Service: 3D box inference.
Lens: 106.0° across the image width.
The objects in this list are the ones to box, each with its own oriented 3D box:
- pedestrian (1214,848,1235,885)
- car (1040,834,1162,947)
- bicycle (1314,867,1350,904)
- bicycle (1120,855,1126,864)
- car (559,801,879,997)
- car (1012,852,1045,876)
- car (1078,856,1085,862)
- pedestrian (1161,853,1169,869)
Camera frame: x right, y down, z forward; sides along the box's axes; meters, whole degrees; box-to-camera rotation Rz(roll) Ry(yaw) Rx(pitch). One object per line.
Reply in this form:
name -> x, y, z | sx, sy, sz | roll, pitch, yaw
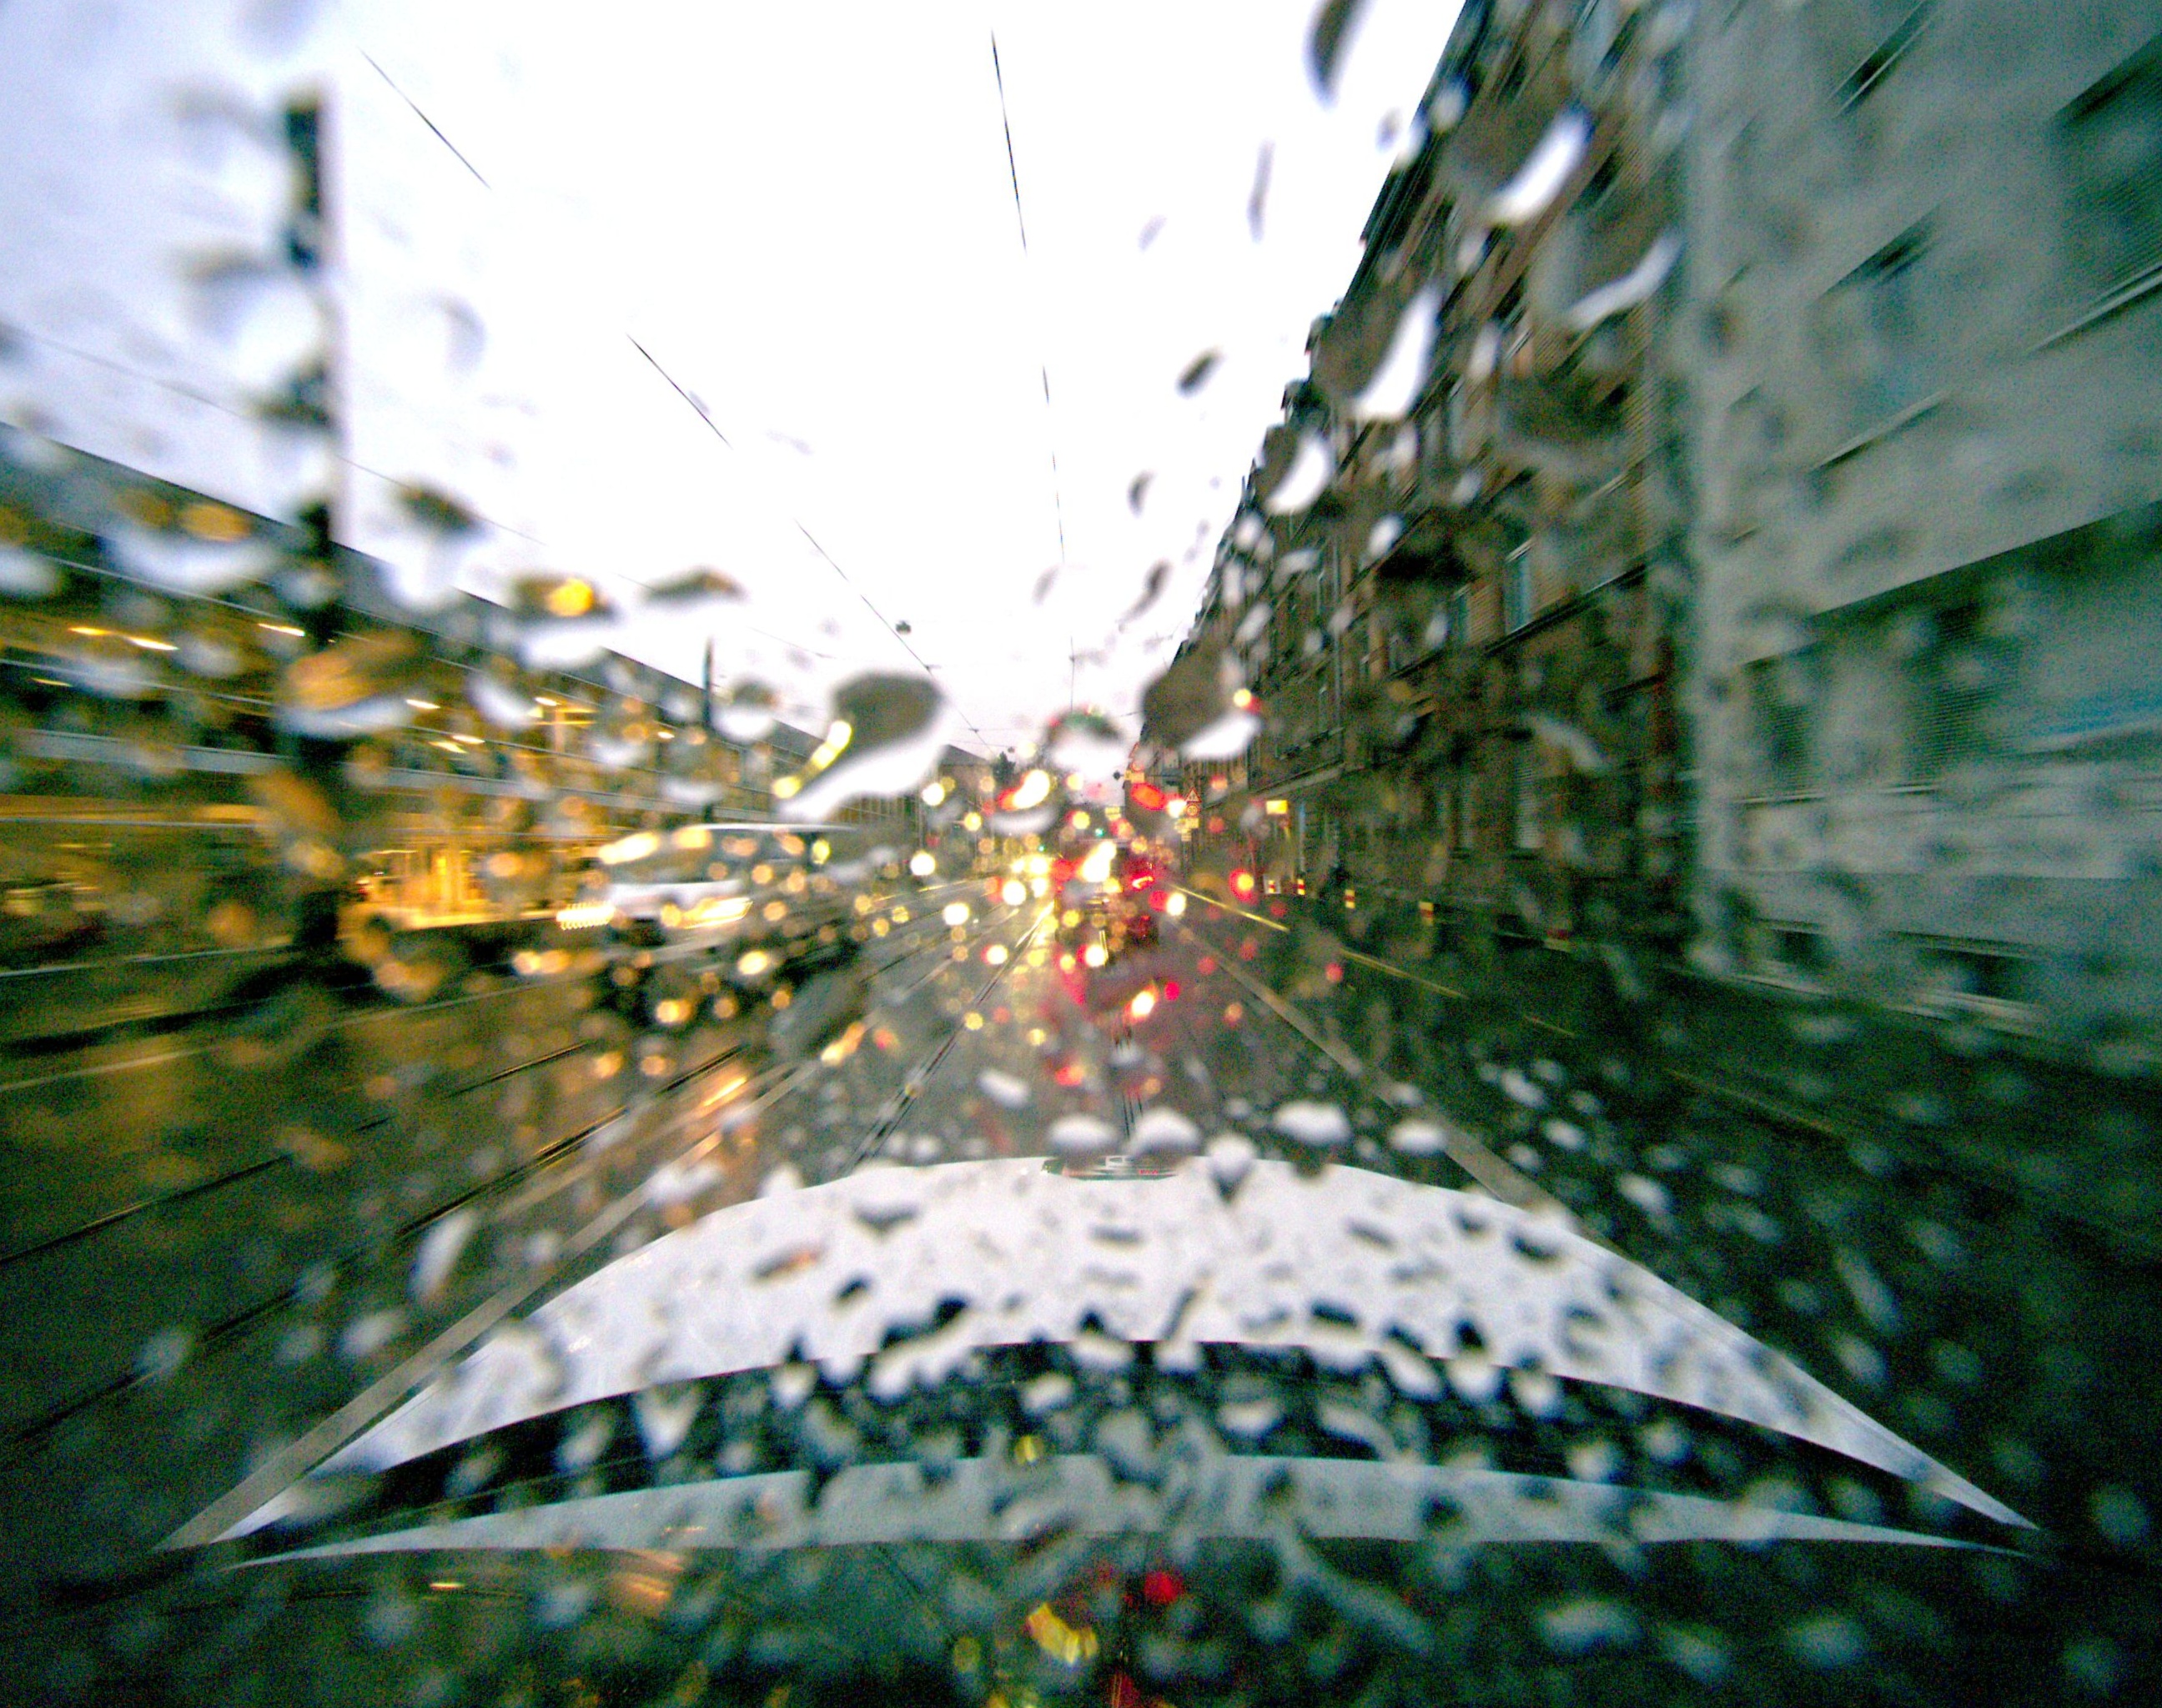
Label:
pedestrian -> 6.363, 0.537, 36.084 | 0.783, 1.597, 0.742 | -1, 0, 1
car -> 0.451, 0.606, 15.372 | 1.985, 1.842, 4.004 | -1, 0, 3
bicycle -> 6.786, 0.833, 22.114 | 0.396, 0.911, 1.867 | -1, 0, 1
bicycle -> 5.624, 0.784, 108.401 | 0.681, 1.156, 2.188 | 0, -1, 1
car -> -4.346, 0.487, 10.791 | 1.986, 2.014, 4.687 | 0, -1, 2
car -> -3.650, 0.703, 57.197 | 1.834, 1.578, 4.444 | -1, 0, 2
car -> 0.061, 1.132, 195.056 | 1.524, 1.481, 3.562 | -1, 0, 1
pedestrian -> 7.139, 0.624, 69.330 | 0.598, 1.376, 0.728 | 0, -1, 0
